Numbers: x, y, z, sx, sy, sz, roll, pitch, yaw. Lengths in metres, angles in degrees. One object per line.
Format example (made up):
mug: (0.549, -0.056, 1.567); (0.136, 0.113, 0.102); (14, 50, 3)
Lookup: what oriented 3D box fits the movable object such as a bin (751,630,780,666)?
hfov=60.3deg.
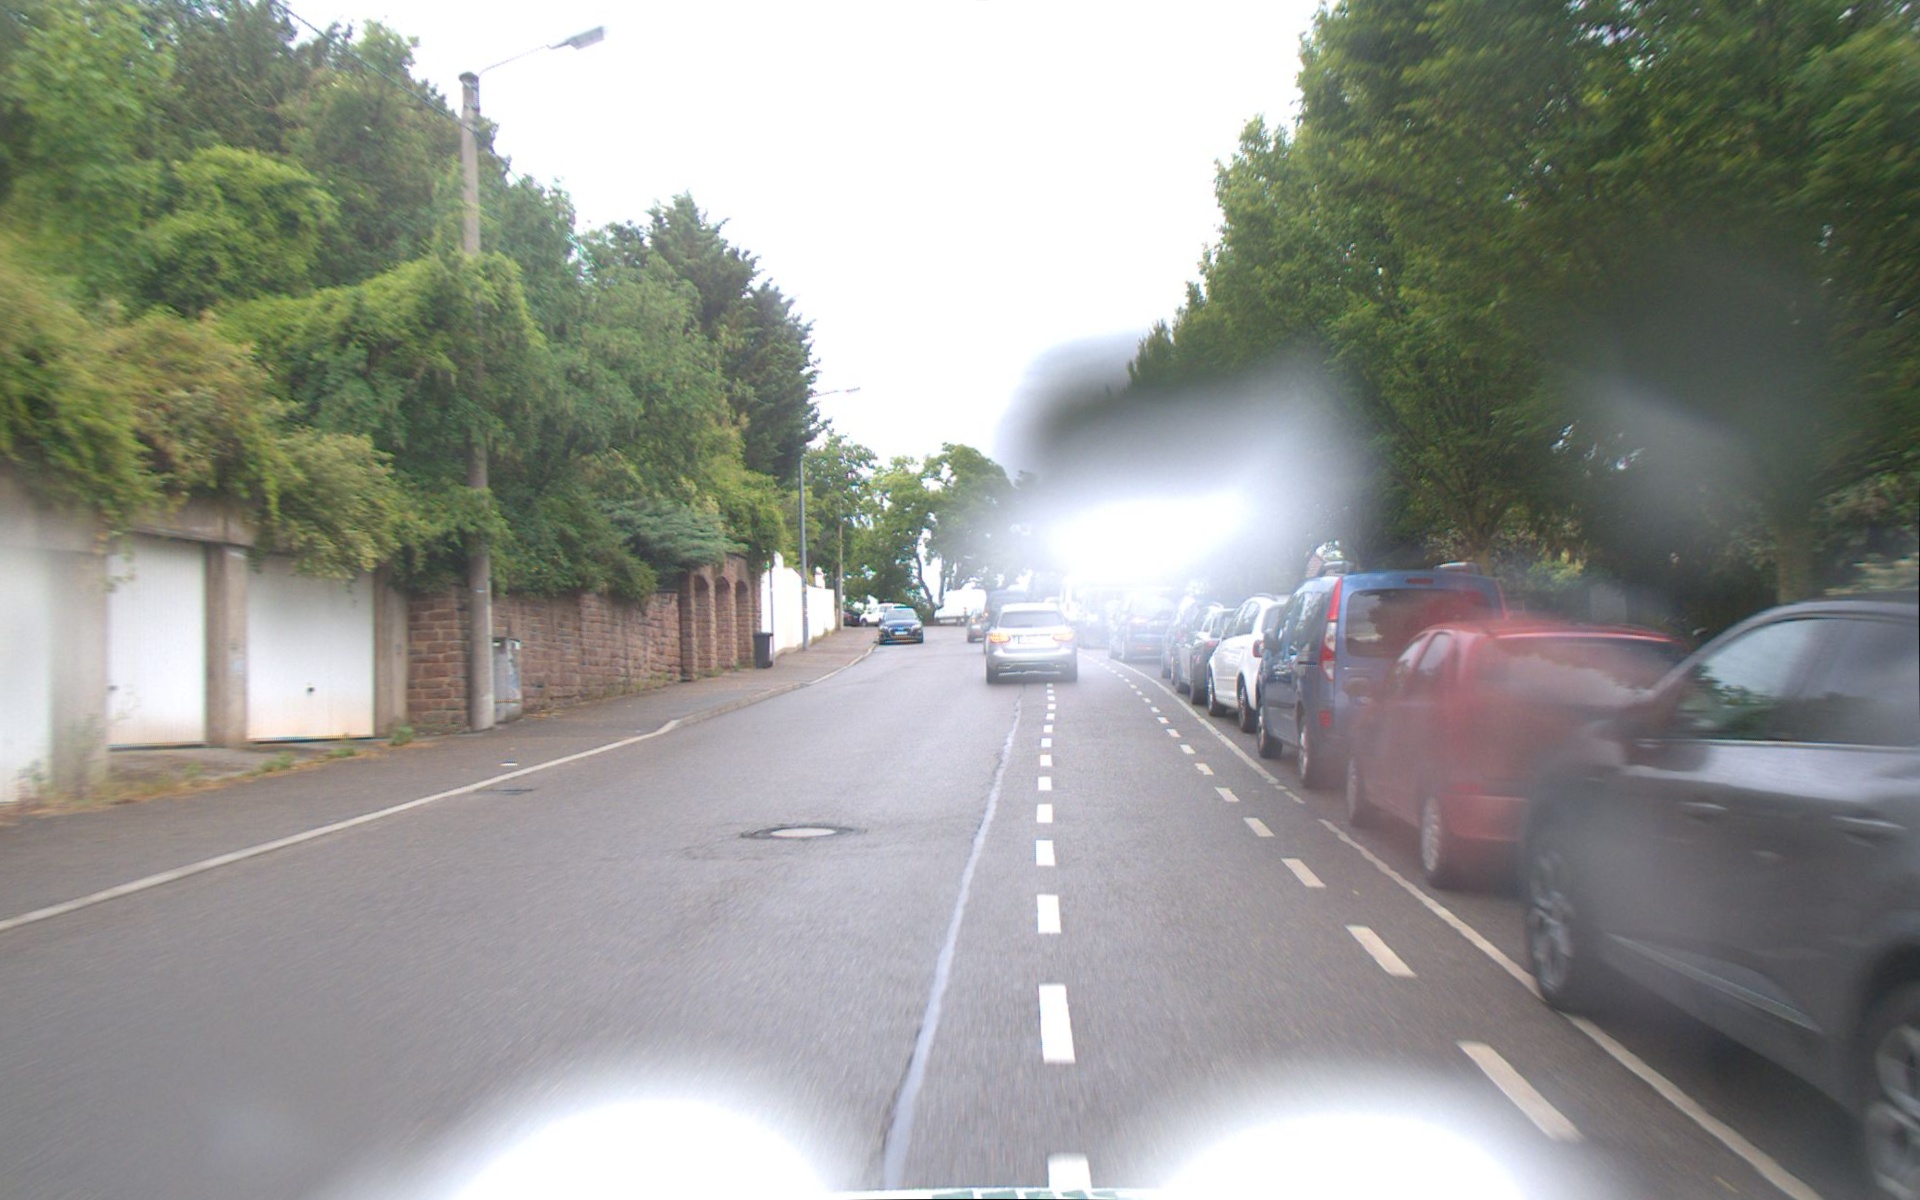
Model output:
movable object such as a bin: (-5.179, 1.265, 44.077); (0.644, 0.935, 0.677); (-1, 0, 2)

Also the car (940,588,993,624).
car: (0.430, 0.424, 120.264); (2.099, 2.571, 4.460); (1, 0, -26)

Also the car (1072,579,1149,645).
car: (4.885, 0.396, 54.430); (1.953, 2.088, 5.120); (0, 0, -1)

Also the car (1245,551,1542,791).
car: (3.812, 0.559, 15.314); (1.741, 1.884, 4.426); (1, 0, 2)

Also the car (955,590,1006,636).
car: (0.811, 0.546, 65.062); (1.952, 1.738, 4.000); (0, -1, 1)

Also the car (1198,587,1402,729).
car: (4.212, 0.668, 21.140); (1.747, 1.637, 4.223); (0, 0, 0)

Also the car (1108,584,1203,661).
car: (4.840, 0.531, 41.523); (1.744, 1.814, 4.677); (0, 0, -1)

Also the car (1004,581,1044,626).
car: (3.750, 0.186, 97.319); (2.022, 2.538, 4.758); (1, 0, -1)

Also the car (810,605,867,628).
car: (-9.850, 1.327, 133.887); (4.590, 1.727, 1.957); (1, 0, 44)

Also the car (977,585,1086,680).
car: (1.368, 0.617, 32.601); (1.983, 1.738, 4.216); (-1, -1, 1)

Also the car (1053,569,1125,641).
car: (4.818, 0.189, 62.383); (2.129, 2.536, 6.032); (1, 0, -1)

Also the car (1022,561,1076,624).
car: (4.350, -0.342, 81.565); (2.081, 2.937, 5.767); (1, 0, -2)

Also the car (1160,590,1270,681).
car: (4.710, 0.622, 30.962); (1.657, 1.598, 3.924); (0, 0, 3)

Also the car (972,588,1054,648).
car: (1.572, 0.580, 50.487); (1.955, 1.738, 3.994); (1, -1, -7)

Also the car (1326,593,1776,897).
car: (3.421, 0.738, 10.352); (1.614, 1.507, 4.021); (1, 0, 4)

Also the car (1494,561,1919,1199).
car: (3.076, 0.733, 4.981); (1.678, 1.583, 4.165); (2, 0, 2)

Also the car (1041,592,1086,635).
car: (4.690, 0.607, 75.430); (1.692, 1.816, 4.275); (3, 0, -1)

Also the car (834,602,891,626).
car: (-7.759, 1.111, 131.832); (4.412, 1.727, 1.960); (1, 0, 40)

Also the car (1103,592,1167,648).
car: (5.167, 0.585, 49.162); (1.564, 1.585, 2.955); (-1, 0, 0)

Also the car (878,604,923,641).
car: (-2.437, 0.899, 67.858); (1.713, 1.381, 4.423); (-3, 0, -2)

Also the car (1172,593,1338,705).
car: (4.484, 0.697, 25.858); (1.952, 1.564, 4.851); (0, 0, 3)
